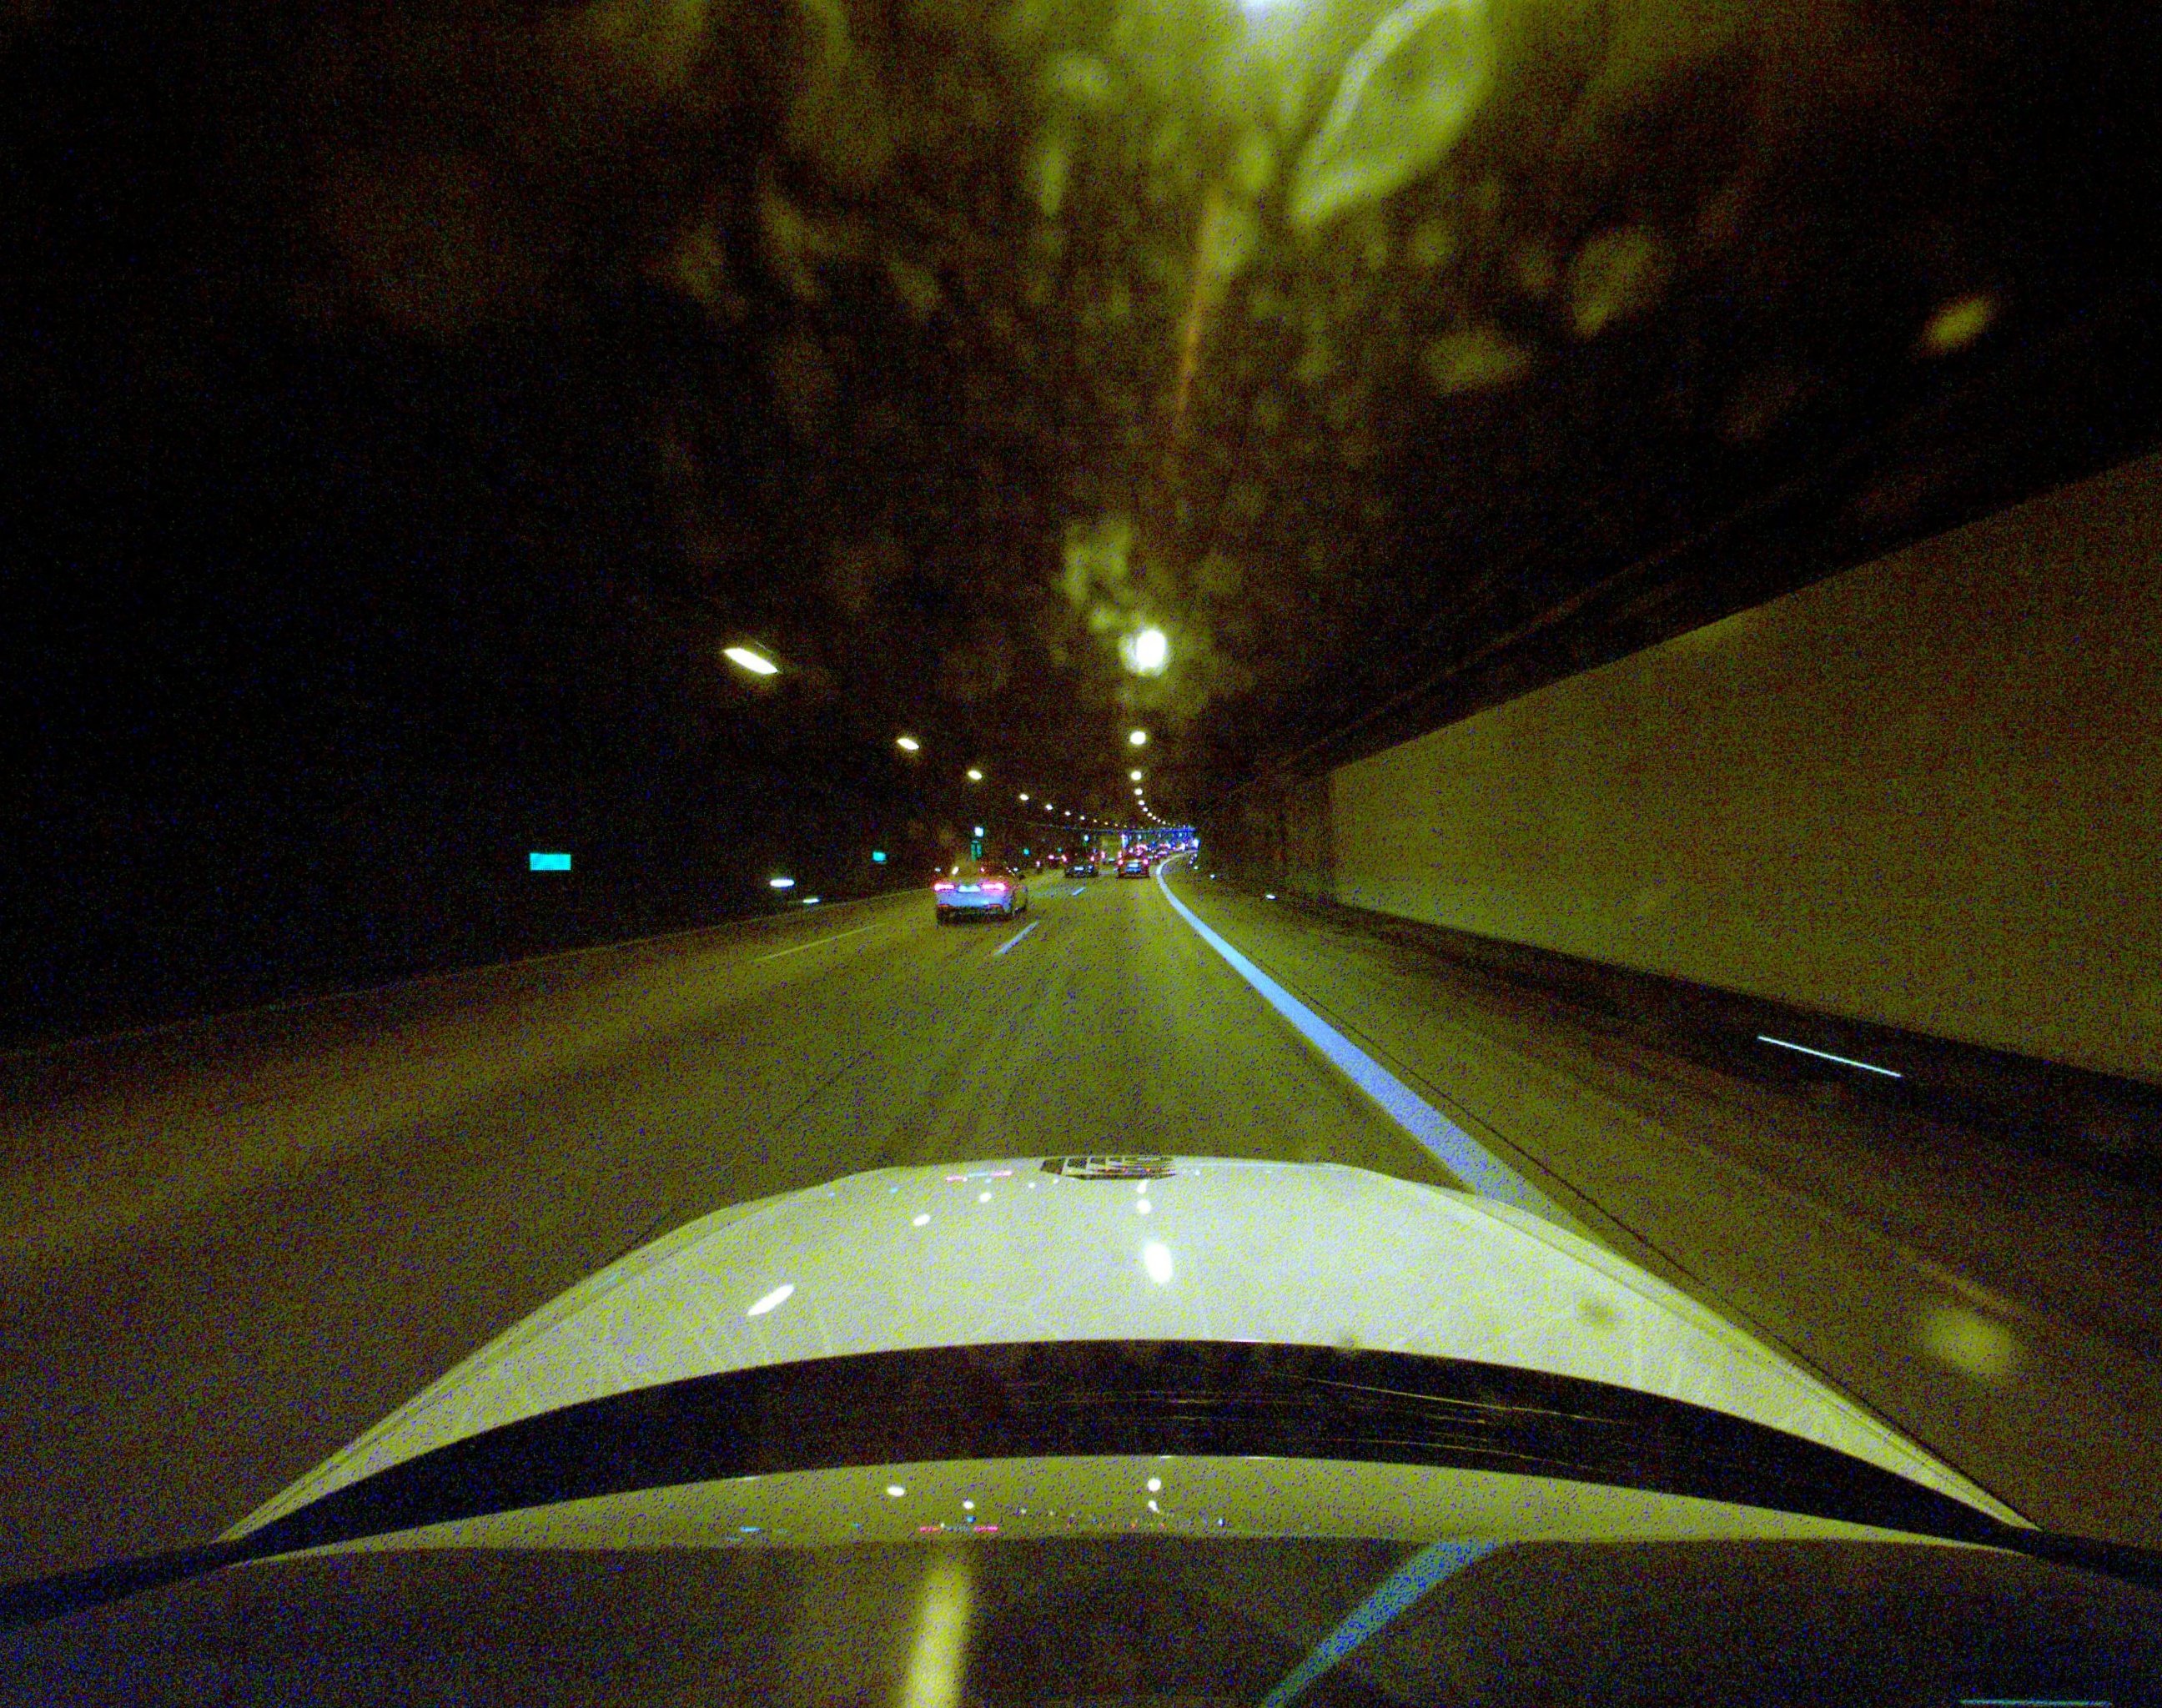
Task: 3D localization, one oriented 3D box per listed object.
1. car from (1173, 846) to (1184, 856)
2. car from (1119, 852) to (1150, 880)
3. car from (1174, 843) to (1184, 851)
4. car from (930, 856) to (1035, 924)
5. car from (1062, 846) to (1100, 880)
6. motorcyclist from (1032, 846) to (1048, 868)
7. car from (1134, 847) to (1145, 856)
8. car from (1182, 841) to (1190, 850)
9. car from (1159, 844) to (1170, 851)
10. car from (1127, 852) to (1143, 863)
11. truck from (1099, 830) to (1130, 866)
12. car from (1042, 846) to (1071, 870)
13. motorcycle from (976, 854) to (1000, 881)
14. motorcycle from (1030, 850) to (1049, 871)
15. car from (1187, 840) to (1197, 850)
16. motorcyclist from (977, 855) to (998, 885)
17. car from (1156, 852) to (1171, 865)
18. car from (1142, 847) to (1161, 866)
[{"bbox_3d":[17.953,-0.590,149.483,1.921,1.643,4.007,-1,-1,6],"label":"car"},{"bbox_3d":[3.215,0.700,48.307,1.734,1.464,3.877,-1,1,5],"label":"car"},{"bbox_3d":[22.056,-1.638,183.534,1.980,1.632,4.012,-1,-1,11],"label":"car"},{"bbox_3d":[-2.334,0.813,20.605,1.695,1.419,5.065,-1,0,4],"label":"car"},{"bbox_3d":[0.061,0.519,50.438,1.900,1.944,3.878,-1,1,6],"label":"car"},{"bbox_3d":[-2.811,0.192,55.798,0.802,1.448,1.867,-1,-2,5],"label":"motorcyclist"},{"bbox_3d":[11.233,-0.483,155.981,1.920,1.642,4.009,-1,0,8],"label":"car"},{"bbox_3d":[25.625,-2.063,198.783,1.982,2.014,4.009,-1,-1,8],"label":"car"},{"bbox_3d":[19.085,-1.465,186.613,1.917,1.643,4.014,-1,-1,13],"label":"car"},{"bbox_3d":[8.180,0.527,122.872,1.982,1.631,4.010,-1,0,9],"label":"car"},{"bbox_3d":[3.616,-0.584,87.265,3.025,3.673,7.401,-1,0,4],"label":"truck"},{"bbox_3d":[-2.088,0.321,70.279,1.983,2.014,4.007,-1,0,6],"label":"car"},{"bbox_3d":[-4.623,0.679,40.651,0.679,1.297,2.402,-1,-1,6],"label":"motorcycle"},{"bbox_3d":[-2.813,0.457,55.849,0.922,1.434,2.967,0,-1,5],"label":"motorcycle"},{"bbox_3d":[24.183,-1.886,177.380,1.980,2.014,4.012,-1,-1,11],"label":"car"},{"bbox_3d":[-4.657,0.792,40.569,0.773,1.452,1.071,-1,-1,6],"label":"motorcyclist"},{"bbox_3d":[11.182,0.604,110.801,1.940,1.772,4.006,-1,-1,5],"label":"car"},{"bbox_3d":[7.274,0.248,84.275,1.849,1.854,4.005,-1,0,4],"label":"car"}]
